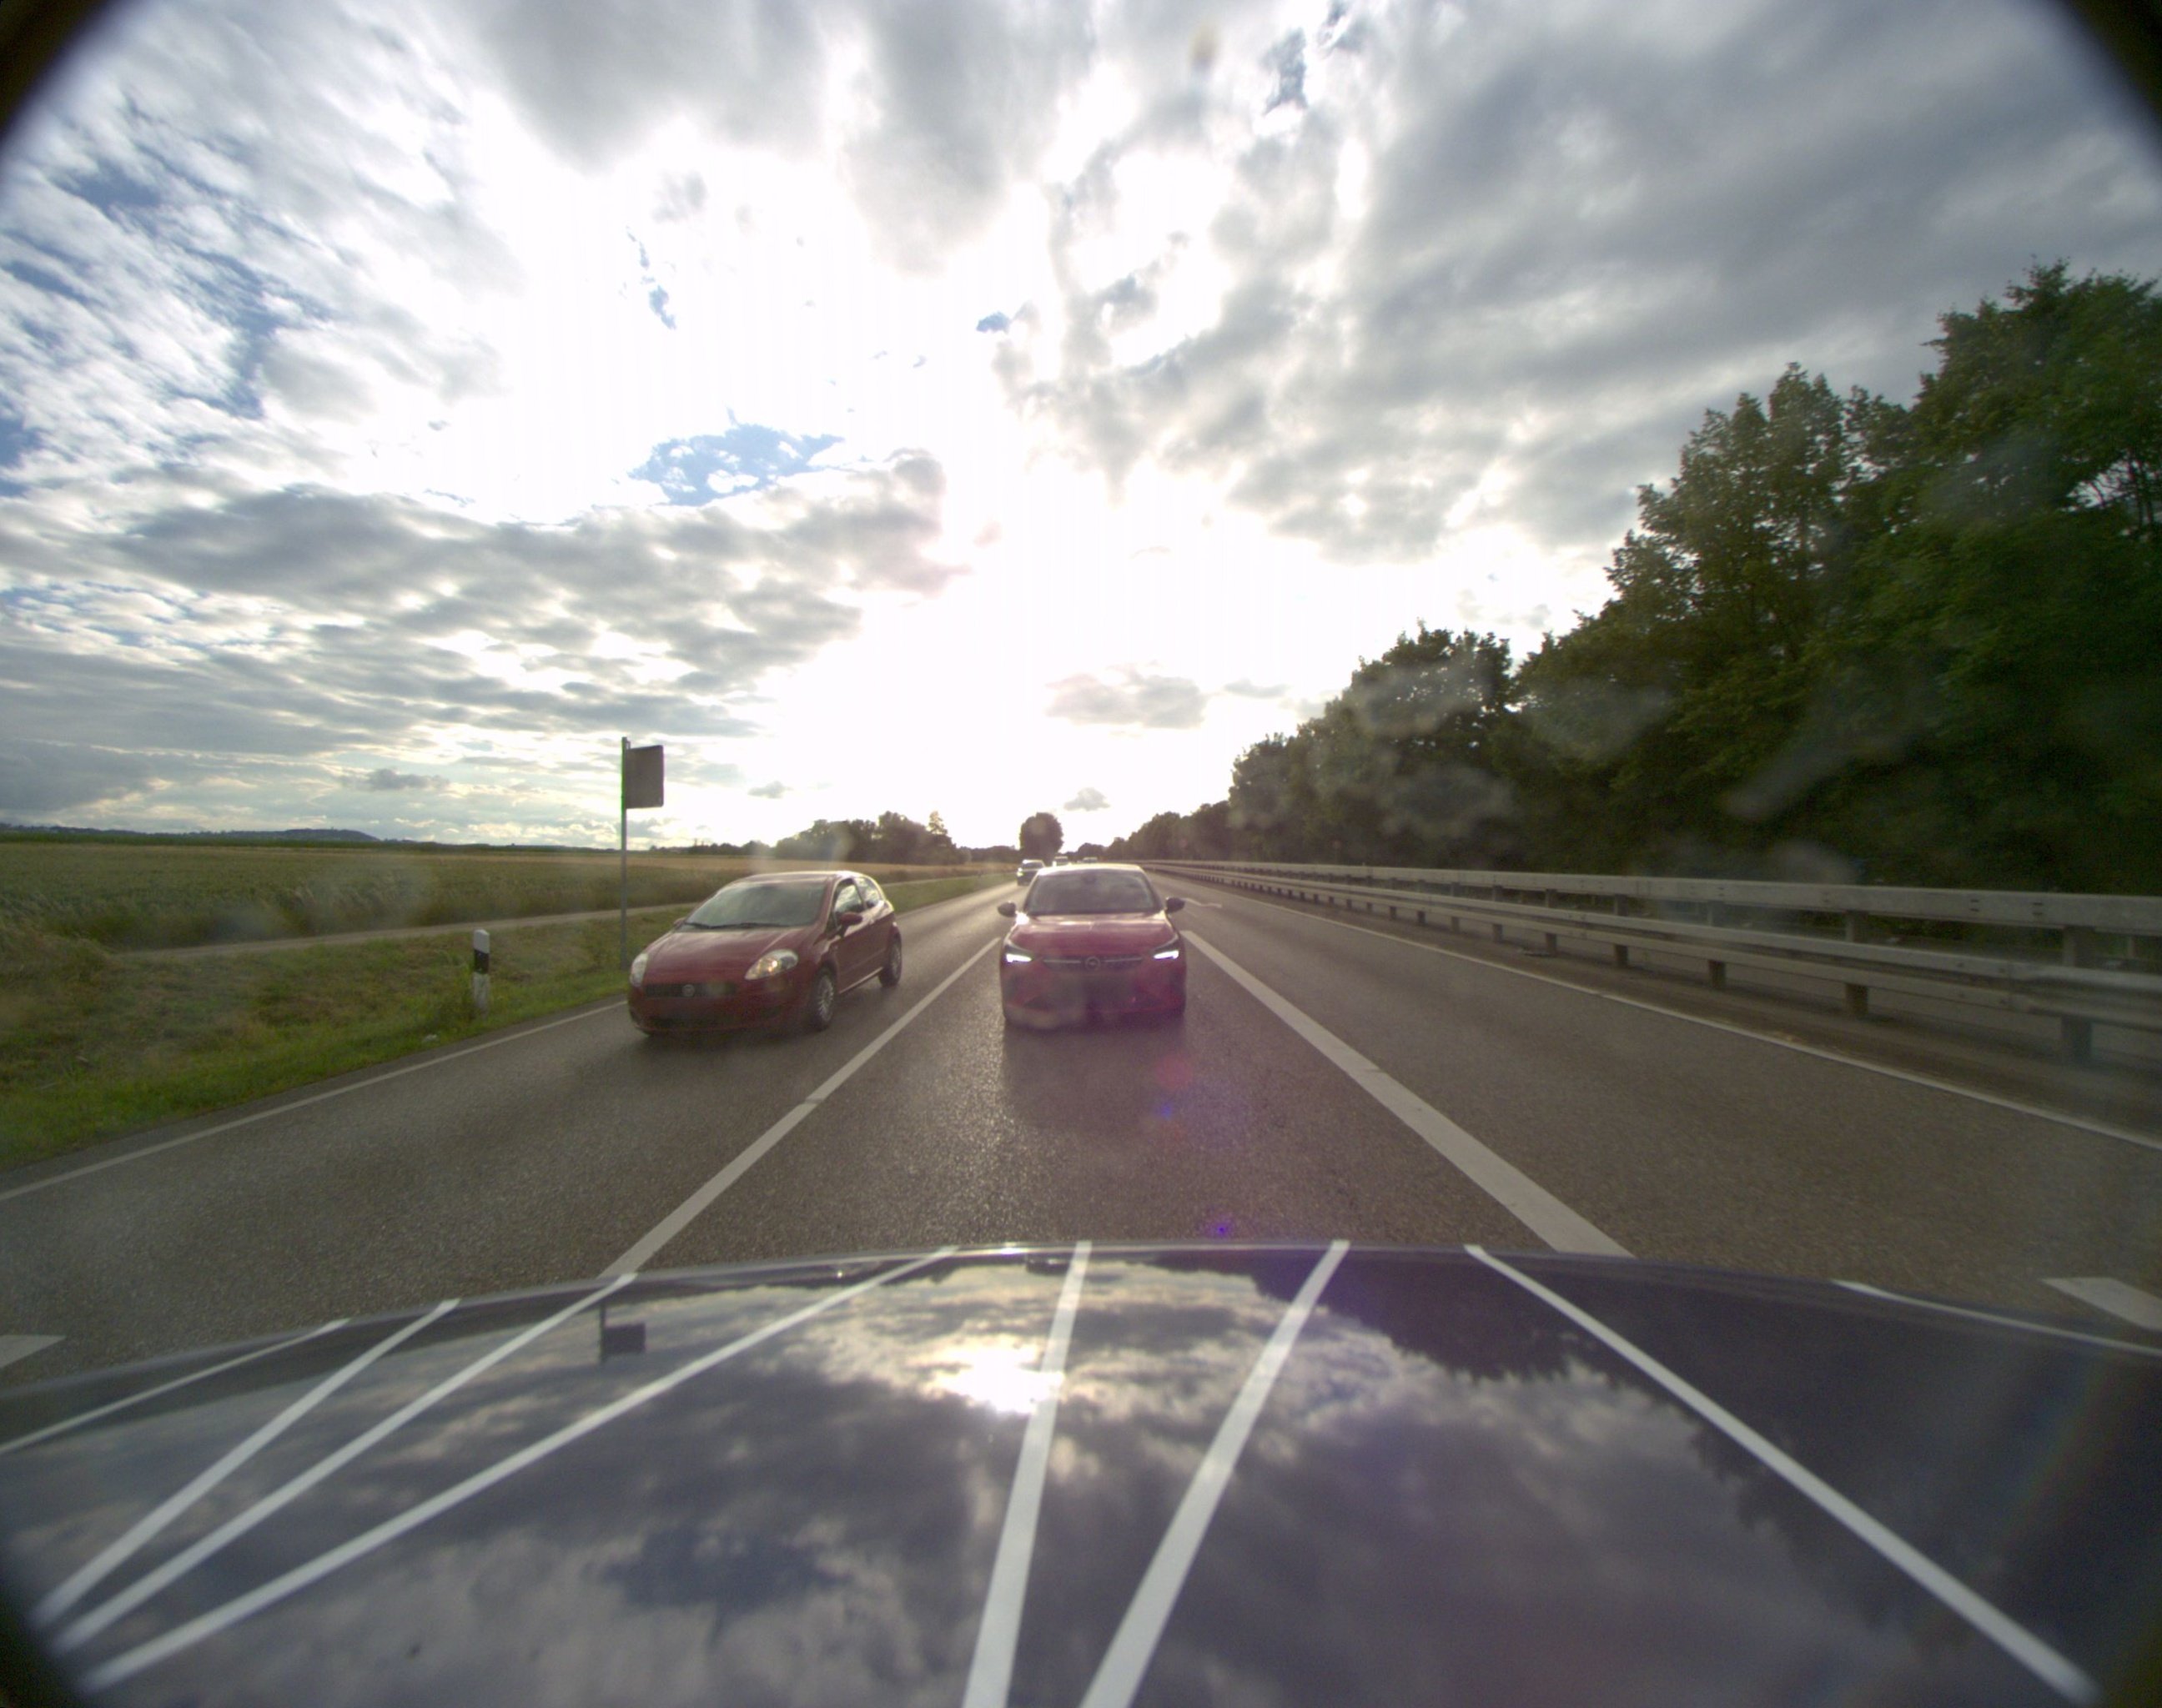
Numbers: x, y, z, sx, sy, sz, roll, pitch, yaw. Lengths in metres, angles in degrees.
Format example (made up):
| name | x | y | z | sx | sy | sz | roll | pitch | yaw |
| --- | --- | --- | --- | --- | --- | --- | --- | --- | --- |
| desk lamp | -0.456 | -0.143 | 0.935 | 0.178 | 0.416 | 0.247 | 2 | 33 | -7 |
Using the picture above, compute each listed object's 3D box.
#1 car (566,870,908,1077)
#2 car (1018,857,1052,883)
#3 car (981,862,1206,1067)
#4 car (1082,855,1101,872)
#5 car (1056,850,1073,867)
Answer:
| name | x | y | z | sx | sy | sz | roll | pitch | yaw |
| --- | --- | --- | --- | --- | --- | --- | --- | --- | --- |
| car | -3.173 | 0.995 | 7.987 | 1.712 | 1.448 | 3.908 | -2 | 1 | 1 |
| car | -2.827 | 0.971 | 47.707 | 1.799 | 1.448 | 4.032 | -2 | 1 | 1 |
| car | 0.127 | 0.895 | 8.005 | 1.712 | 1.448 | 4.061 | -2 | 1 | 1 |
| car | 0.988 | 0.857 | 71.144 | 1.712 | 1.448 | 4.061 | -2 | 1 | 1 |
| car | -1.822 | 0.517 | 83.232 | 1.671 | 1.730 | 4.032 | -2 | 1 | 1 |
